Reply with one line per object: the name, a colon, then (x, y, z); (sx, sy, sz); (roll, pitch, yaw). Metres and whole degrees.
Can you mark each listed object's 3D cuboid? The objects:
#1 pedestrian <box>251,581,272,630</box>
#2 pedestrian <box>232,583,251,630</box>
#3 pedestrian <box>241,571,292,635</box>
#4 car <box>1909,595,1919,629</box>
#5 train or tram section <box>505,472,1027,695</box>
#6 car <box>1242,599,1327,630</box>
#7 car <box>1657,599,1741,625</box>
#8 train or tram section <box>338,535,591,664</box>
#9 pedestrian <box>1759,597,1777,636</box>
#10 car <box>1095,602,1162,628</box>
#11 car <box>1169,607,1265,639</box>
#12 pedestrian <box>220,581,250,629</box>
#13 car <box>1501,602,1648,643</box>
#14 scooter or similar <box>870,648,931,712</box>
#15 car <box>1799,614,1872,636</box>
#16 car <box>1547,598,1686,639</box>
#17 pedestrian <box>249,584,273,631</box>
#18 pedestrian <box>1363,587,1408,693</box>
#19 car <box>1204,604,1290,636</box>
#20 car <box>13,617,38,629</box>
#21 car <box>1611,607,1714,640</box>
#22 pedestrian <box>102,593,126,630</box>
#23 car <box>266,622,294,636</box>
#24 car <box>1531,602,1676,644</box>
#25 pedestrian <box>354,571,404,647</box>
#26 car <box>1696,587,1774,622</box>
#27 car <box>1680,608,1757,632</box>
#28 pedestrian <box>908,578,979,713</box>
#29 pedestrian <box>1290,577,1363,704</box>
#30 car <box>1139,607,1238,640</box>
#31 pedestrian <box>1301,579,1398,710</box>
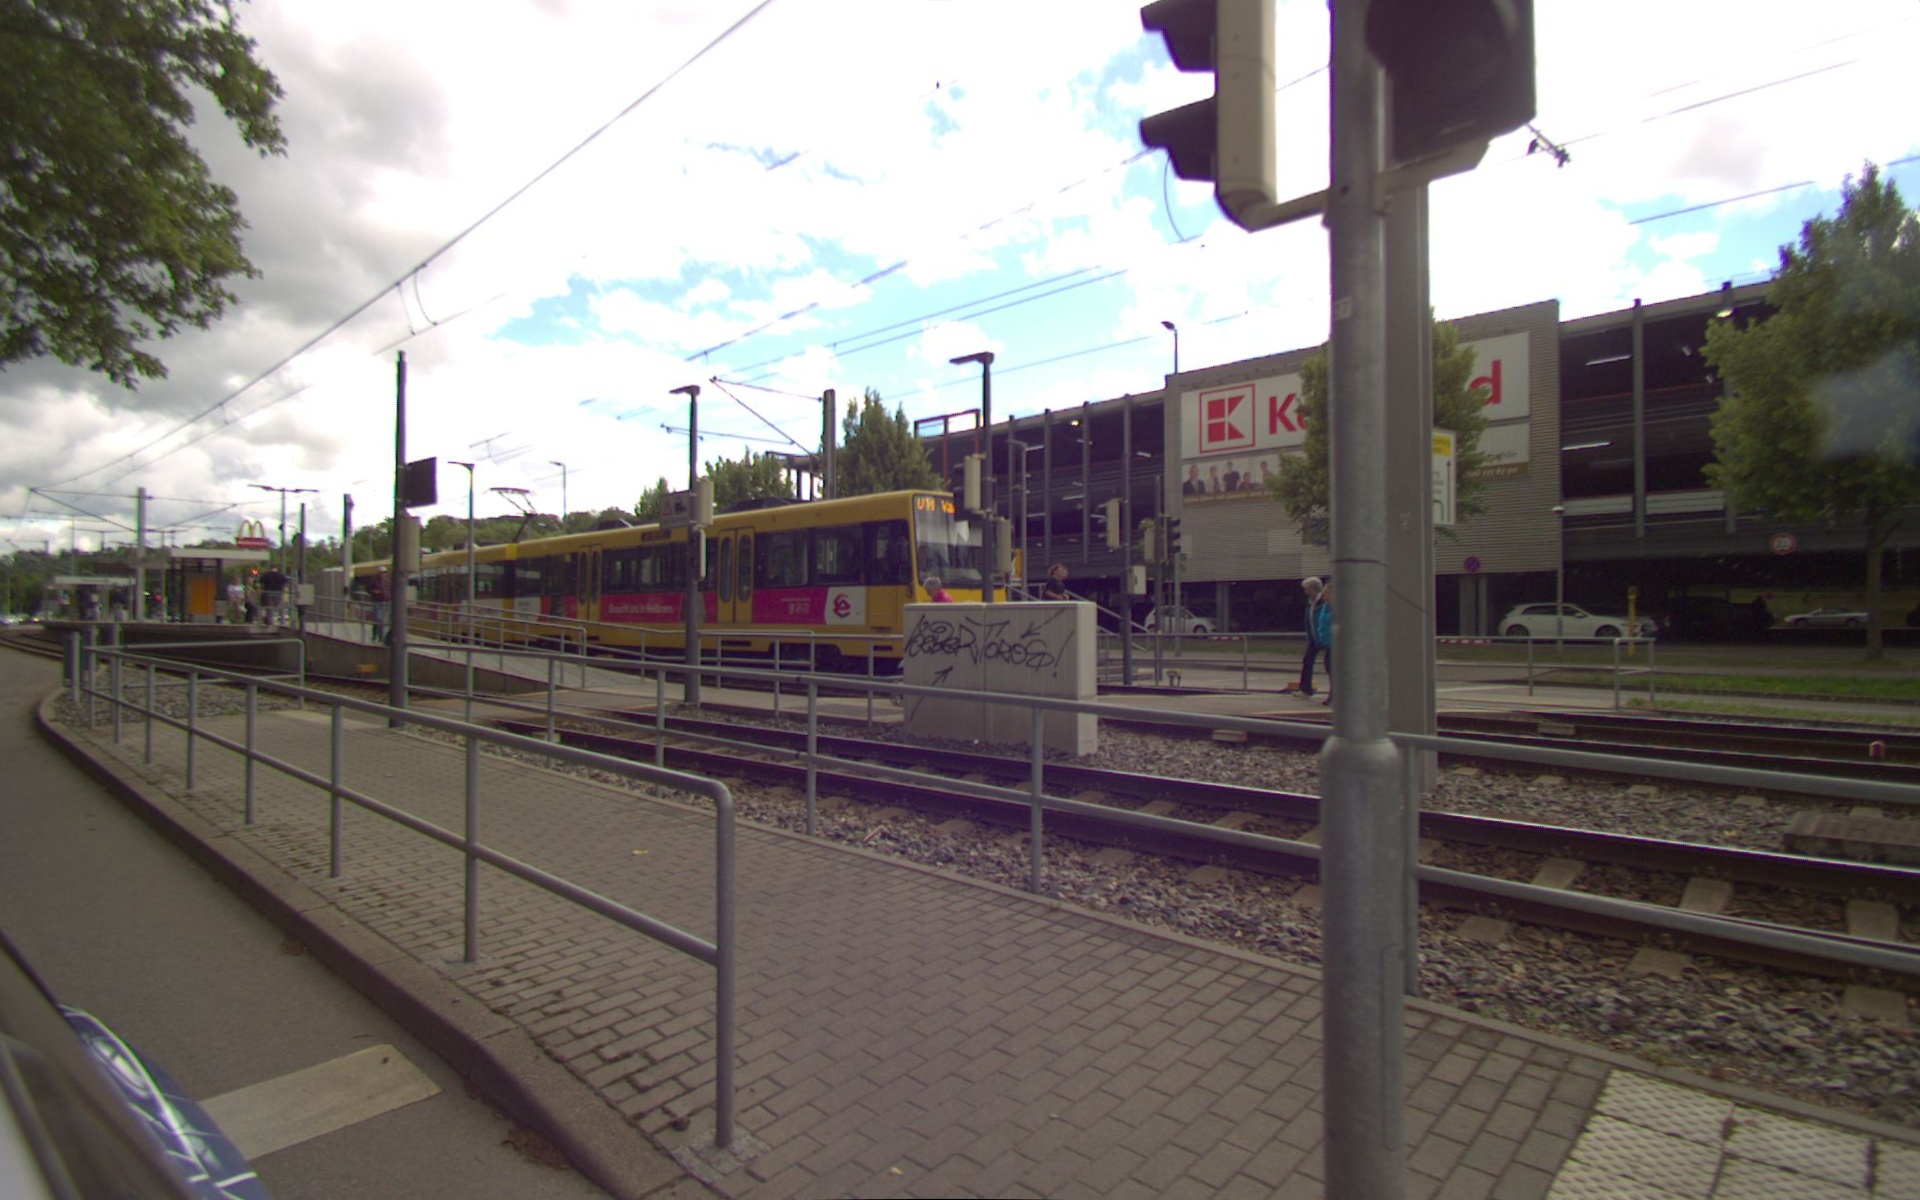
pedestrian: (-21.972, 0.178, 31.840); (0.469, 1.494, 0.543); (3, -3, -38)
pedestrian: (-22.476, 0.206, 31.663); (0.639, 1.476, 0.356); (-1, -2, 42)
pedestrian: (-18.717, 0.084, 27.319); (0.734, 1.691, 0.877); (1, -2, -3)
car: (42.063, 0.511, 42.079); (3.749, 1.378, 1.616); (-1, -3, 44)
train or tram section: (-6.269, -0.140, 25.069); (2.725, 3.858, 18.641); (0, -1, -45)
car: (16.888, 0.750, 52.790); (3.870, 1.526, 1.735); (-1, -1, 44)
car: (36.827, 0.601, 50.470); (3.218, 1.233, 1.422); (-1, -1, 44)
train or tram section: (-19.467, 0.136, 38.325); (18.640, 3.912, 2.725); (-1, -1, 45)
pedestrian: (43.481, 0.890, 54.463); (0.729, 2.029, 0.515); (-1, -3, 41)
car: (10.366, 0.937, 62.303); (3.796, 1.526, 1.705); (-1, -1, 44)
car: (11.913, 1.077, 47.012); (4.002, 1.414, 1.758); (-1, -3, 44)
pedestrian: (-23.061, 0.177, 32.210); (0.512, 1.494, 0.583); (1, -2, -9)
car: (20.973, 0.761, 34.627); (4.071, 1.334, 1.618); (-1, -1, 42)
scooter or similar: (-0.764, 1.004, 12.855); (0.489, 0.774, 0.801); (2, -2, -26)
car: (59.129, 1.686, 68.435); (3.685, 1.410, 1.423); (-1, -3, 41)
car: (24.908, 0.703, 38.492); (4.198, 1.443, 1.821); (-1, -3, 43)
pedestrian: (-21.632, 0.233, 31.333); (0.411, 1.416, 0.474); (-1, -3, 42)
pedestrian: (6.847, 0.642, 16.293); (0.510, 1.675, 0.466); (3, -3, -36)
car: (14.559, 1.012, 51.427); (3.870, 1.526, 1.735); (-1, -1, 44)
car: (-120.160, 2.947, 130.181); (1.936, 1.564, 4.008); (2, -2, -38)
car: (28.318, 0.951, 40.849); (3.218, 1.234, 1.422); (-1, -3, 44)
pedestrian: (-41.203, 0.554, 49.284); (0.937, 1.757, 0.740); (-1, -3, 43)
car: (-68.372, 2.906, 101.719); (4.032, 1.360, 1.595); (-1, -2, 44)
car: (23.247, 0.841, 36.646); (4.198, 1.443, 1.821); (-1, -3, 43)
pedestrian: (-13.424, 0.219, 23.381); (0.791, 1.691, 0.762); (-1, -3, 43)
car: (47.159, 0.289, 61.589); (1.819, 2.029, 3.533); (0, -1, -45)
car: (41.505, 1.101, 55.408); (3.218, 1.234, 1.422); (-1, -3, 44)
pedestrian: (-0.223, 0.583, 13.037); (0.604, 1.666, 0.798); (2, -2, -26)
pedestrian: (5.103, 0.564, 14.102); (0.646, 1.711, 0.730); (3, -3, -36)
car: (10.198, 1.052, 45.354); (4.002, 1.409, 1.758); (-1, -3, 44)
pedestrian: (5.022, 0.567, 13.071); (0.703, 1.623, 0.943); (3, -3, -36)
